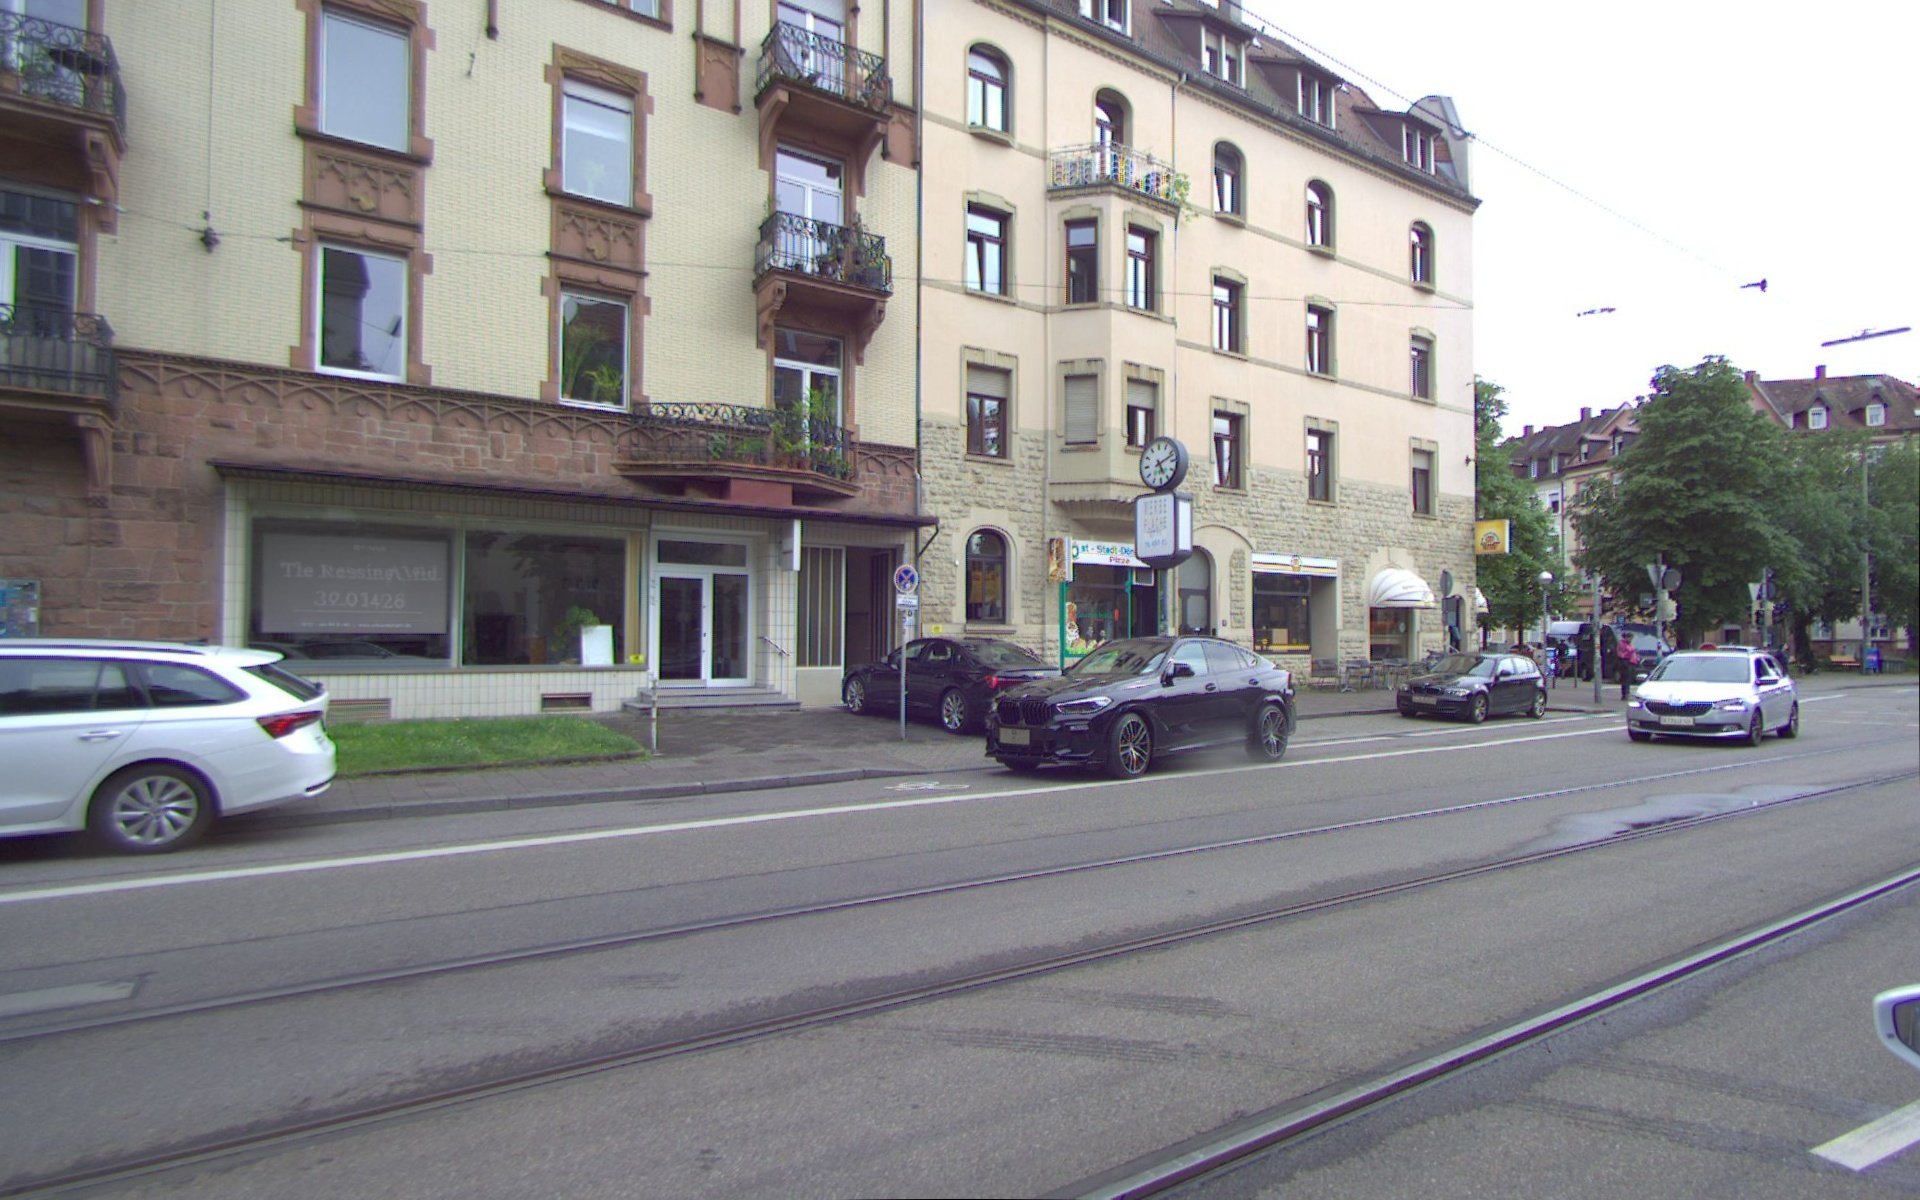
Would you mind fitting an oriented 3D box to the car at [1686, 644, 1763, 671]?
[{"bbox_3d":[49.563,3.712,65.143,3.809,1.644,1.717,-2,-3,43],"label":"car"}]

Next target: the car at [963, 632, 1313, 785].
[{"bbox_3d":[2.468,1.314,13.088,4.851,1.632,1.867,3,-6,-42],"label":"car"}]

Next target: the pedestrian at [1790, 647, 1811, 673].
[{"bbox_3d":[39.685,2.820,47.418,0.579,1.183,0.844,-1,-2,28],"label":"pedestrian"}]

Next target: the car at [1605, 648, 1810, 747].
[{"bbox_3d":[12.348,1.526,16.512,3.964,1.429,1.677,2,-4,-38],"label":"car"}]

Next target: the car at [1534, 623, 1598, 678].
[{"bbox_3d":[30.069,2.484,50.021,2.145,2.560,5.376,-1,-3,25],"label":"car"}]

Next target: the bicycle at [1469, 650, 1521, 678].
[{"bbox_3d":[21.267,2.558,39.964,1.777,1.091,0.359,0,-2,11],"label":"bicycle"}]

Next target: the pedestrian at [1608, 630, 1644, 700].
[{"bbox_3d":[18.196,1.768,27.445,0.604,1.866,0.619,2,-3,-35],"label":"pedestrian"}]

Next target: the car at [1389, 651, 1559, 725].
[{"bbox_3d":[11.353,1.871,22.101,4.089,1.379,1.638,2,0,-35],"label":"car"}]

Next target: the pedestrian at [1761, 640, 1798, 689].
[{"bbox_3d":[28.621,2.236,35.081,0.584,1.685,0.832,1,-2,-31],"label":"pedestrian"}]

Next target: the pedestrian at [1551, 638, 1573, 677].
[{"bbox_3d":[27.259,2.588,45.487,0.686,1.738,0.552,-1,-2,18],"label":"pedestrian"}]

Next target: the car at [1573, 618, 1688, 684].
[{"bbox_3d":[26.630,2.020,40.132,2.142,2.449,5.384,0,-2,15],"label":"car"}]

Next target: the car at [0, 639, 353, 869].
[{"bbox_3d":[-7.023,1.034,7.132,4.561,1.504,1.737,2,-3,-34],"label":"car"}]

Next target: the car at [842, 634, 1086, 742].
[{"bbox_3d":[-0.080,1.364,16.939,1.863,1.388,4.393,2,0,-37],"label":"car"}]
